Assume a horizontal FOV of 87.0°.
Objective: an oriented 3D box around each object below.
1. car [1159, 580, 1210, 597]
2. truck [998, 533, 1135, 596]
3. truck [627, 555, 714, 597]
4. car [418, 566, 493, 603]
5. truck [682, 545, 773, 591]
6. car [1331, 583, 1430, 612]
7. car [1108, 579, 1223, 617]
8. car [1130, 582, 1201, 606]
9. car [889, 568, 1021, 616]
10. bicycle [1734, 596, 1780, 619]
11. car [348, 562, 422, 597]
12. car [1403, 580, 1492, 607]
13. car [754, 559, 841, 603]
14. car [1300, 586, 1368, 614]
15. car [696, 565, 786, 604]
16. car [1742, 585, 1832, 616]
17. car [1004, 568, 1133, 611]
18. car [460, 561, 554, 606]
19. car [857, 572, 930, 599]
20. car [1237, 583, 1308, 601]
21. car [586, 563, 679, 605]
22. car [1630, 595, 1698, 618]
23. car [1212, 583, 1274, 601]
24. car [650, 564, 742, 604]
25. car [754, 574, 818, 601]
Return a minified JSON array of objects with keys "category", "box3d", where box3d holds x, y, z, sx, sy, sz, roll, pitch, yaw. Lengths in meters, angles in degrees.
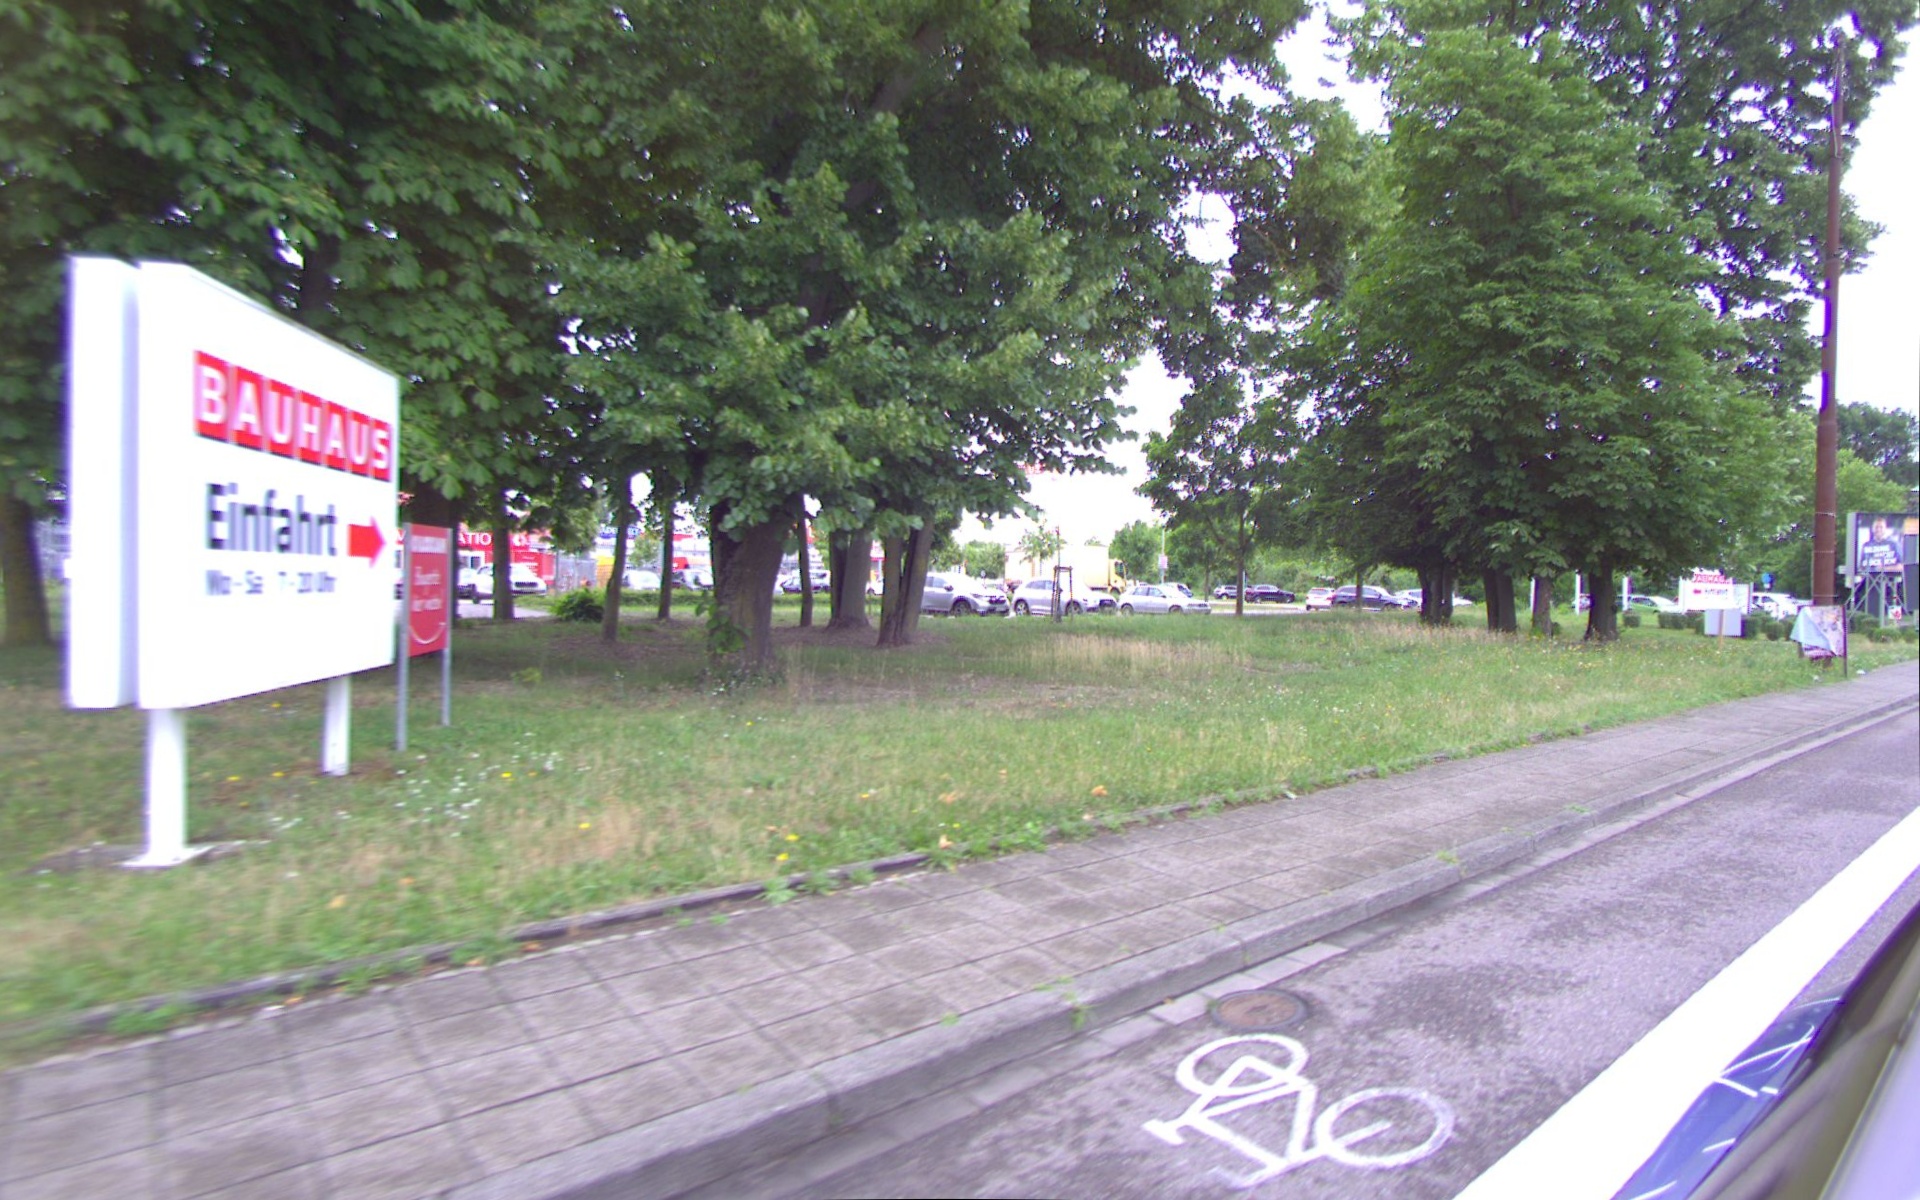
[{"category":"car","box3d":[26.864,-1.365,121.215,5.619,1.917,2.155,1,1,1]},{"category":"truck","box3d":[6.711,-2.092,62.670,9.086,3.609,2.945,-1,0,-40]},{"category":"truck","box3d":[-19.544,-1.637,67.979,2.442,2.667,7.872,0,2,-42]},{"category":"car","box3d":[-25.124,-0.787,50.354,2.119,1.697,4.559,0,2,-43]},{"category":"truck","box3d":[-15.608,-2.151,67.521,2.442,2.851,7.872,0,2,-42]},{"category":"car","box3d":[22.655,-0.130,54.660,1.899,1.516,4.603,0,0,-43]},{"category":"car","box3d":[8.587,-0.084,42.537,1.899,1.516,4.447,0,0,-43]},{"category":"car","box3d":[14.127,-0.441,69.756,1.951,1.525,4.566,0,2,-38]},{"category":"car","box3d":[-0.225,-0.246,34.354,1.927,1.516,4.535,0,0,-43]},{"category":"bicycle","box3d":[41.145,0.368,52.247,1.780,1.132,0.486,1,1,14]},{"category":"car","box3d":[-27.837,-1.005,48.918,2.119,1.575,4.559,0,2,-43]},{"category":"car","box3d":[27.861,-0.365,57.897,1.898,1.516,4.226,0,0,-42]},{"category":"car","box3d":[-8.223,-1.000,51.080,2.120,2.076,4.558,0,2,-44]},{"category":"car","box3d":[23.717,-0.014,64.162,4.423,1.691,1.998,-1,0,-38]},{"category":"car","box3d":[-10.473,-0.760,48.200,2.120,1.697,4.558,0,2,-44]},{"category":"car","box3d":[52.885,-0.006,64.826,1.842,1.851,4.427,-1,1,-6]},{"category":"car","box3d":[4.033,-0.378,38.319,2.132,1.516,4.683,-1,0,-40]},{"category":"car","box3d":[-18.534,-0.703,41.292,2.120,1.697,4.558,0,2,-44]},{"category":"car","box3d":[-4.489,-1.016,68.030,4.538,1.697,2.129,2,2,35]},{"category":"car","box3d":[28.012,-0.692,90.813,5.608,1.458,2.159,1,1,-8]},{"category":"car","box3d":[-14.444,-0.724,44.518,2.120,1.697,4.558,0,2,-44]},{"category":"car","box3d":[49.211,0.420,70.845,1.750,1.552,4.002,-1,0,-3]},{"category":"car","box3d":[28.393,-0.813,101.543,5.608,1.697,2.159,1,1,-8]},{"category":"car","box3d":[-12.164,-0.746,46.500,2.120,1.697,4.558,0,2,-44]},{"category":"car","box3d":[-11.922,-0.886,69.175,2.120,1.697,4.558,0,2,-44]}]
